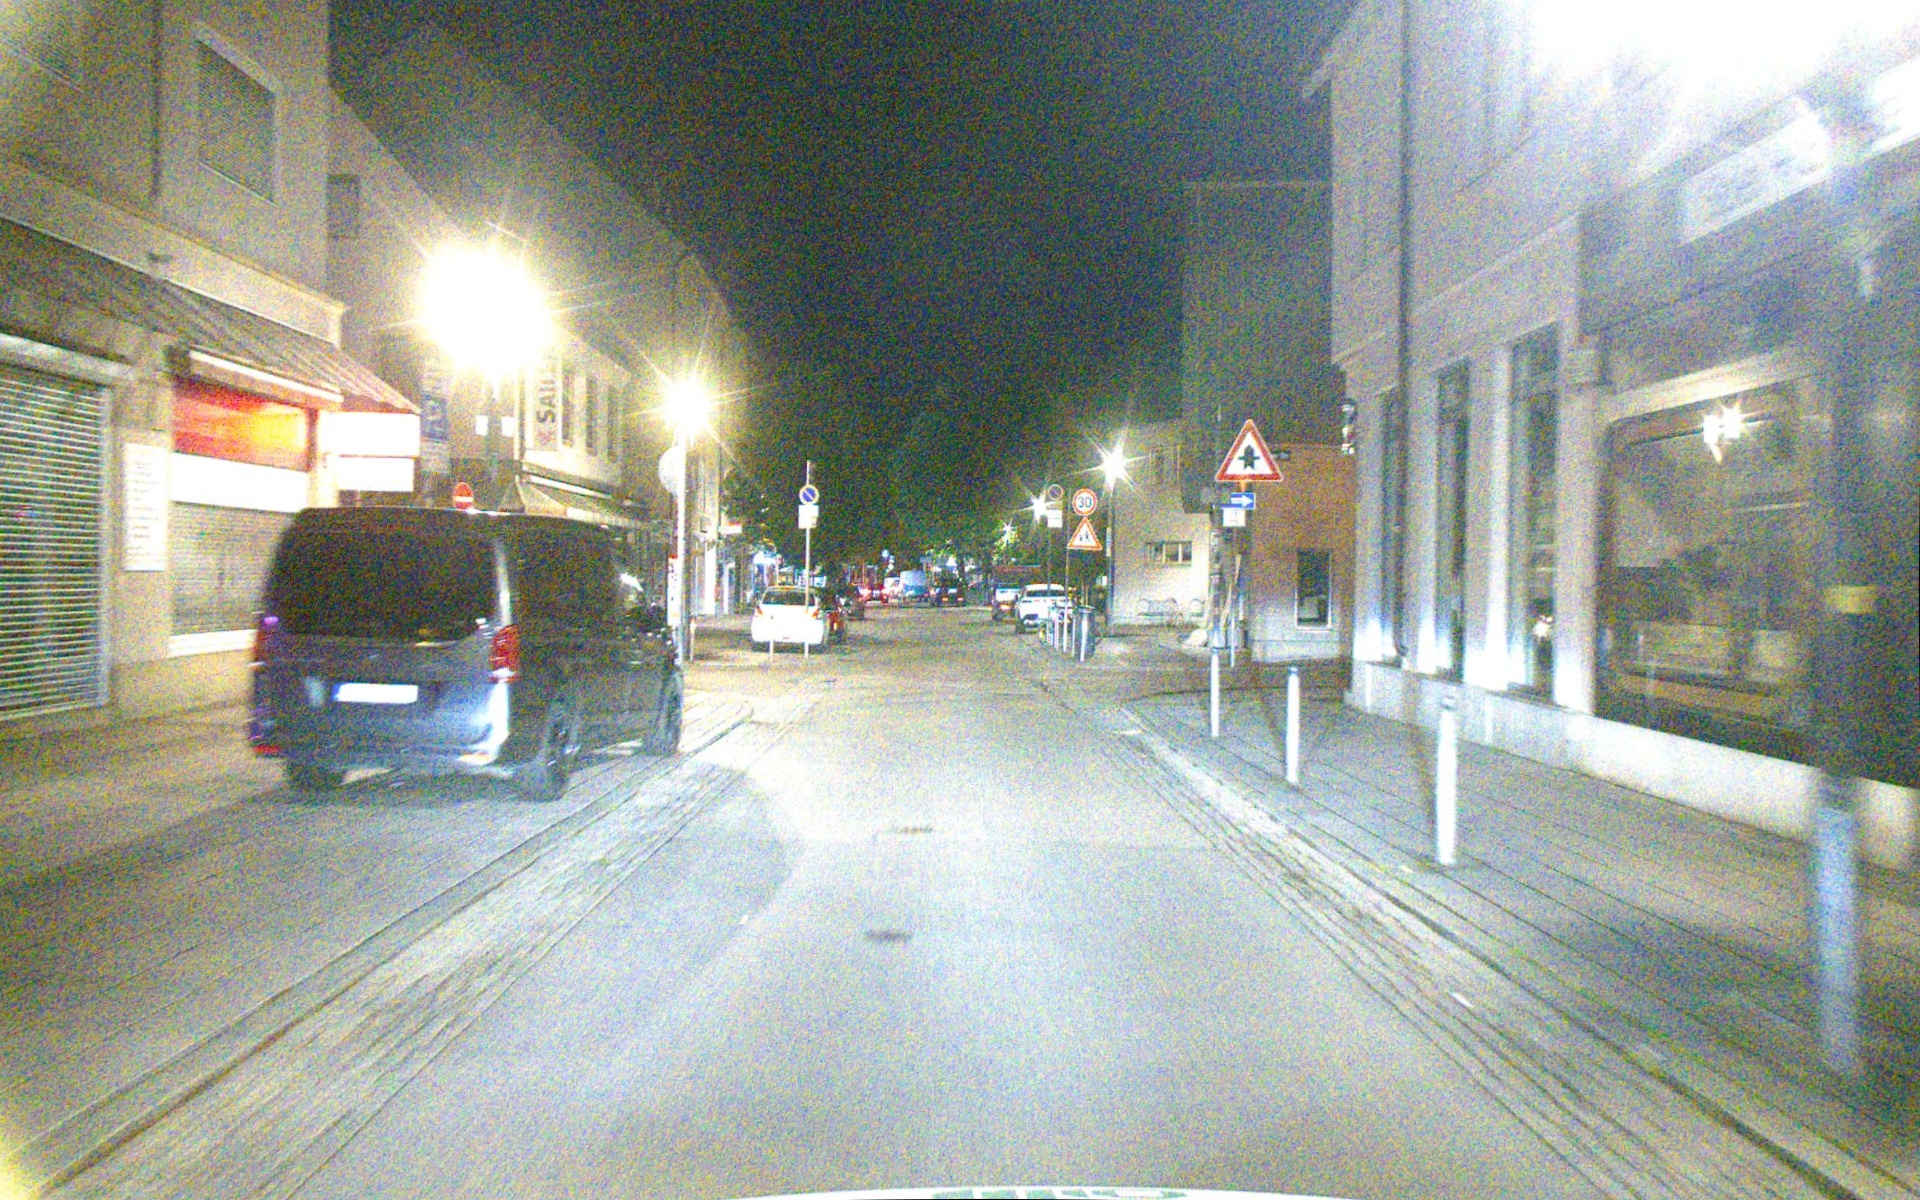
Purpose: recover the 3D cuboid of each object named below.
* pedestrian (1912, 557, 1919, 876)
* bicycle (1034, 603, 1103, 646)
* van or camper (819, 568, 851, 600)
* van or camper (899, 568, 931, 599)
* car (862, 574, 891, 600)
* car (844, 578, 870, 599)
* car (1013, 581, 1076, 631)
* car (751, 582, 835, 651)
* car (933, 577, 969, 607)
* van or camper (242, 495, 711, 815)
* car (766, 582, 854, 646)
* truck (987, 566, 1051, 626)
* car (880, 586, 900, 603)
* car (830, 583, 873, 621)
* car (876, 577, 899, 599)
[{"bbox_3d":[4.972,0.580,7.968,0.490,1.574,0.480,1,0,5],"label":"pedestrian"},{"bbox_3d":[2.722,0.610,41.534,1.719,1.080,0.346,0,0,-4],"label":"bicycle"},{"bbox_3d":[-8.351,-1.049,110.432,1.831,2.046,4.255,2,0,-8],"label":"van or camper"},{"bbox_3d":[-3.567,-1.307,129.732,2.069,2.357,4.255,-1,1,-8],"label":"van or camper"},{"bbox_3d":[-6.105,-0.974,120.015,1.955,1.855,3.996,0,0,-5],"label":"car"},{"bbox_3d":[-8.344,-0.933,134.137,1.955,1.732,3.995,0,0,-6],"label":"car"},{"bbox_3d":[2.661,0.164,52.811,1.753,1.517,4.059,-1,1,0],"label":"car"},{"bbox_3d":[-3.891,0.352,39.095,1.694,1.502,3.845,1,1,-2],"label":"car"},{"bbox_3d":[-0.579,-0.507,103.656,1.780,1.860,4.340,0,1,-7],"label":"car"},{"bbox_3d":[-3.444,0.325,13.000,1.807,1.976,5.156,1,0,4],"label":"van or camper"},{"bbox_3d":[-3.966,0.339,44.414,1.979,1.514,5.006,3,0,-2],"label":"car"},{"bbox_3d":[2.386,-0.196,68.457,2.289,2.352,5.779,0,1,-2],"label":"truck"},{"bbox_3d":[-6.064,-0.496,142.404,1.502,1.443,3.840,0,1,-6],"label":"car"},{"bbox_3d":[-4.767,0.058,72.572,1.641,1.570,4.224,1,0,-7],"label":"car"},{"bbox_3d":[-6.522,-1.082,148.342,1.804,1.934,3.840,0,1,-6],"label":"car"}]
